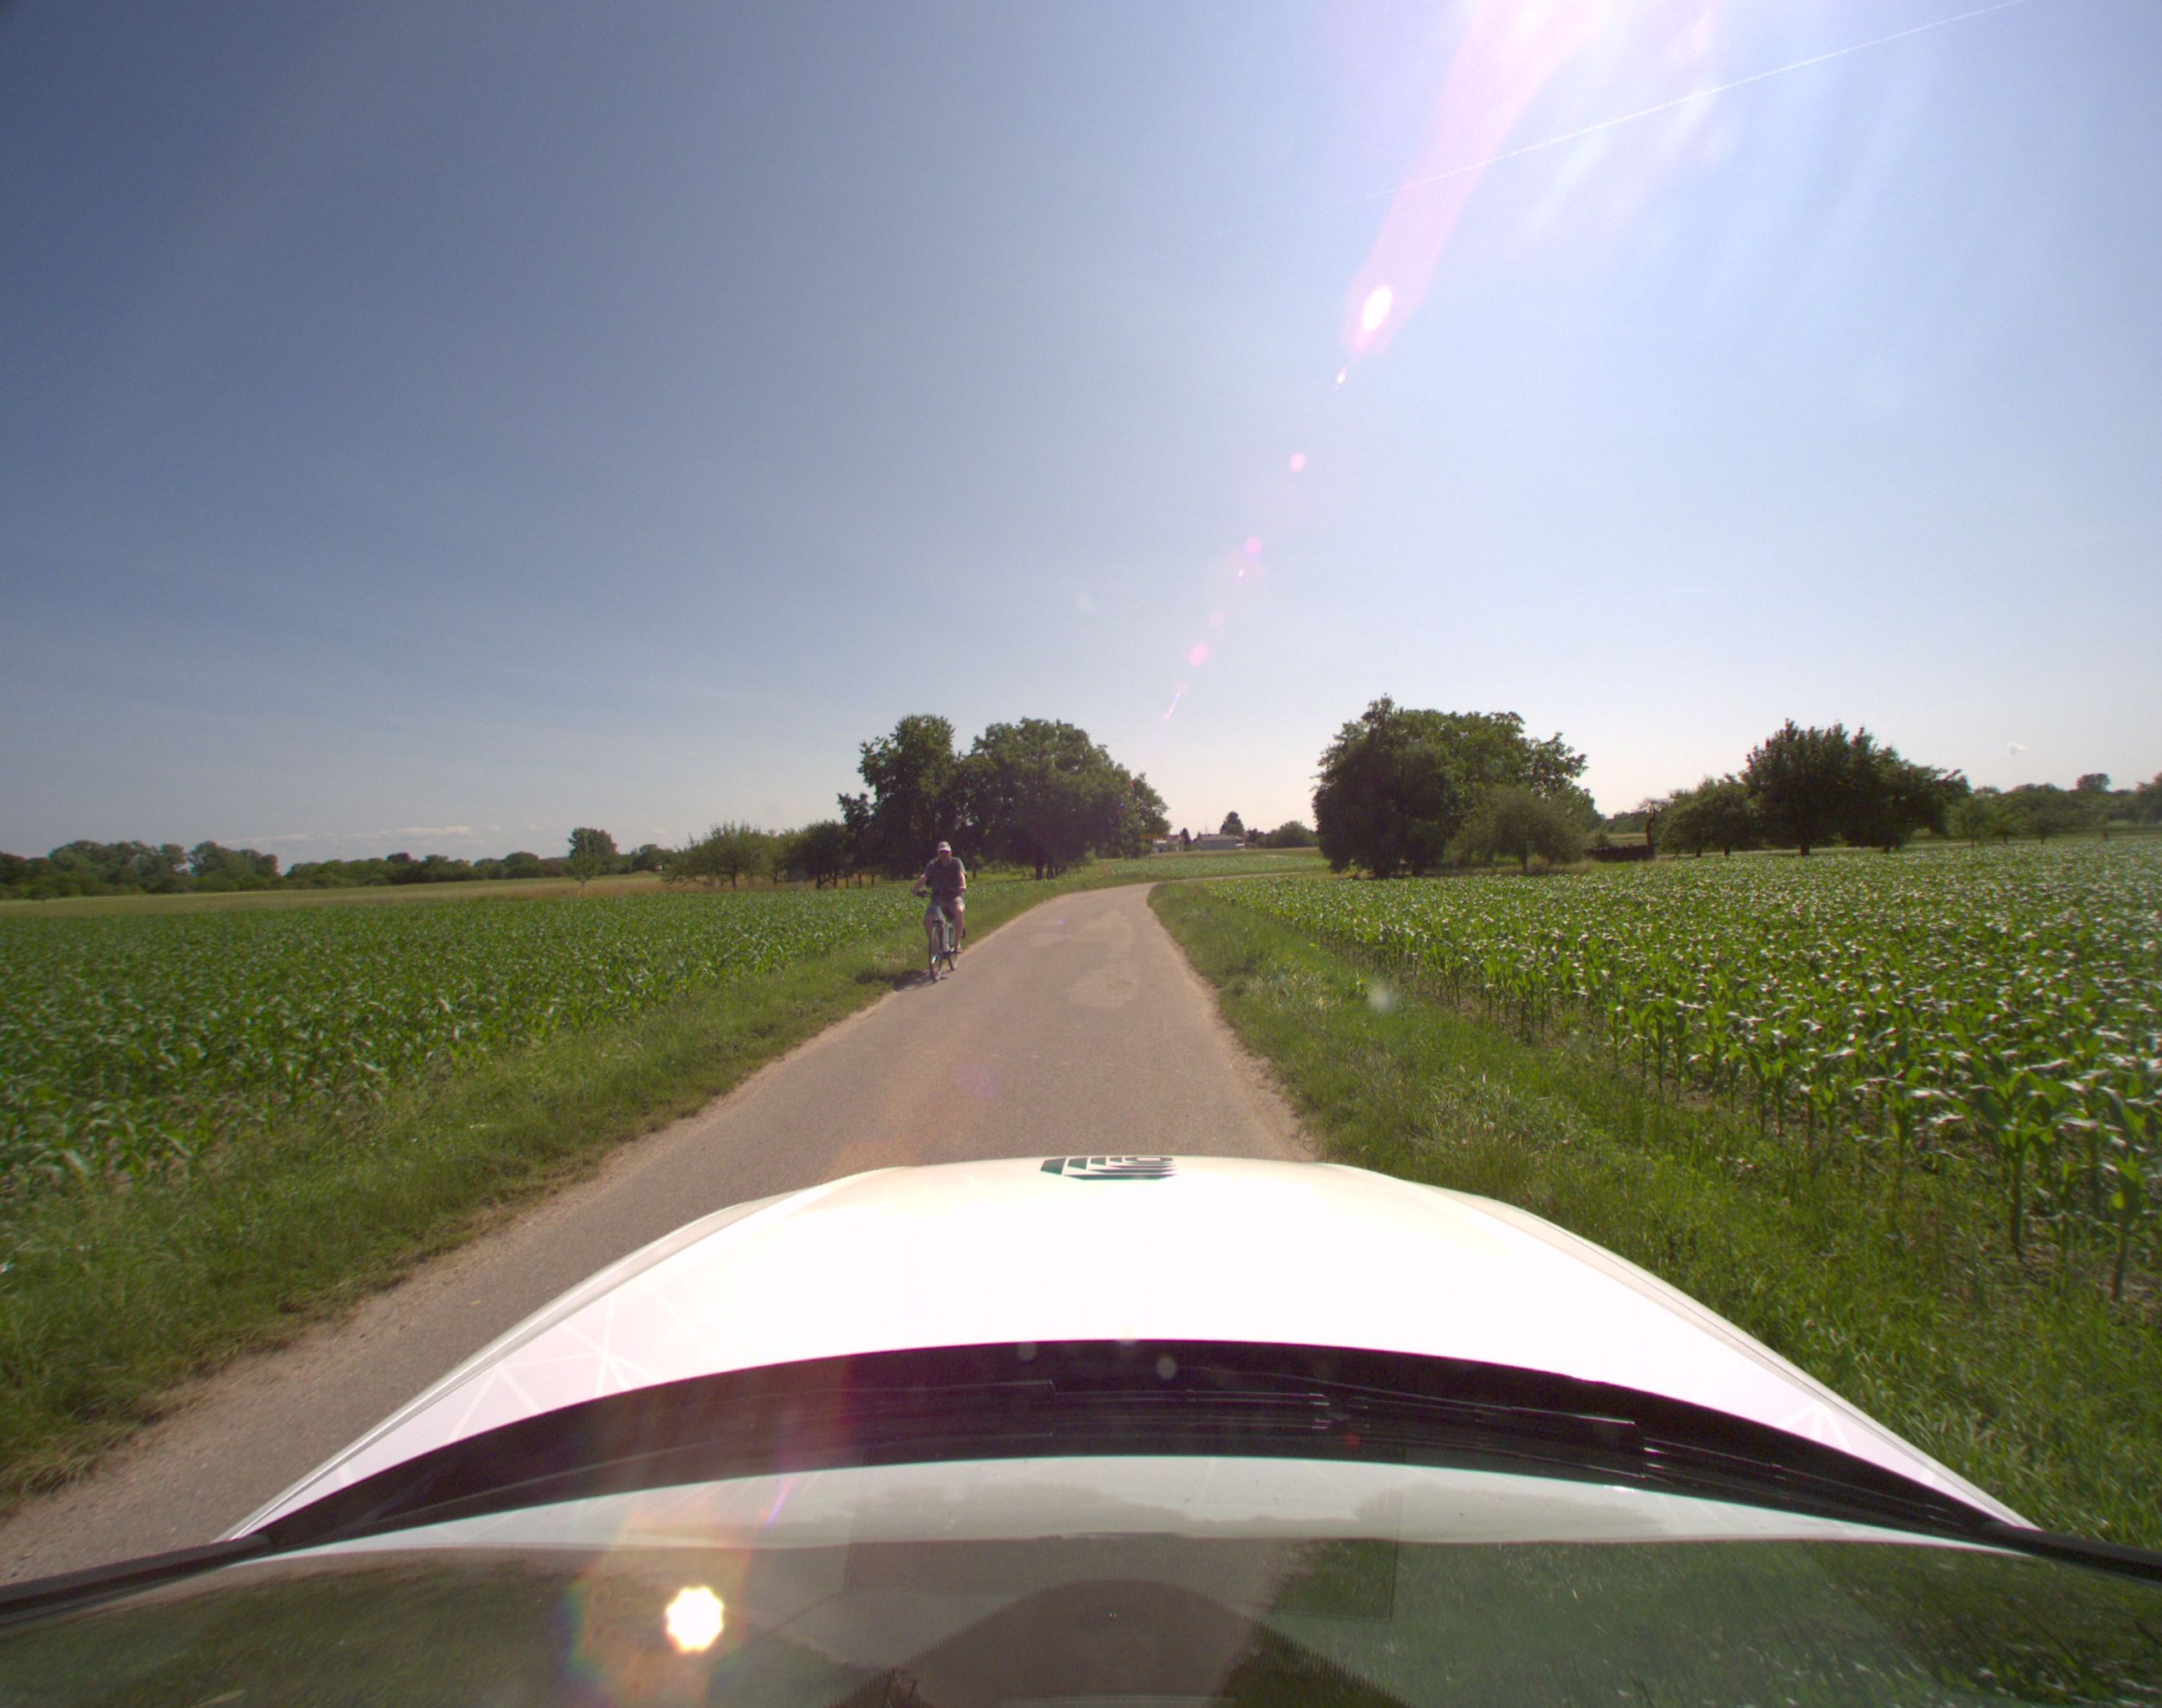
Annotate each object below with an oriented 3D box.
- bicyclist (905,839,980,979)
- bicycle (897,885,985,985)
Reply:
[{"bbox_3d":[-1.866,0.725,11.071,0.748,1.791,0.717,-4,-1,1],"label":"bicyclist"},{"bbox_3d":[-1.848,1.041,11.066,0.748,1.127,1.909,-4,0,1],"label":"bicycle"}]
